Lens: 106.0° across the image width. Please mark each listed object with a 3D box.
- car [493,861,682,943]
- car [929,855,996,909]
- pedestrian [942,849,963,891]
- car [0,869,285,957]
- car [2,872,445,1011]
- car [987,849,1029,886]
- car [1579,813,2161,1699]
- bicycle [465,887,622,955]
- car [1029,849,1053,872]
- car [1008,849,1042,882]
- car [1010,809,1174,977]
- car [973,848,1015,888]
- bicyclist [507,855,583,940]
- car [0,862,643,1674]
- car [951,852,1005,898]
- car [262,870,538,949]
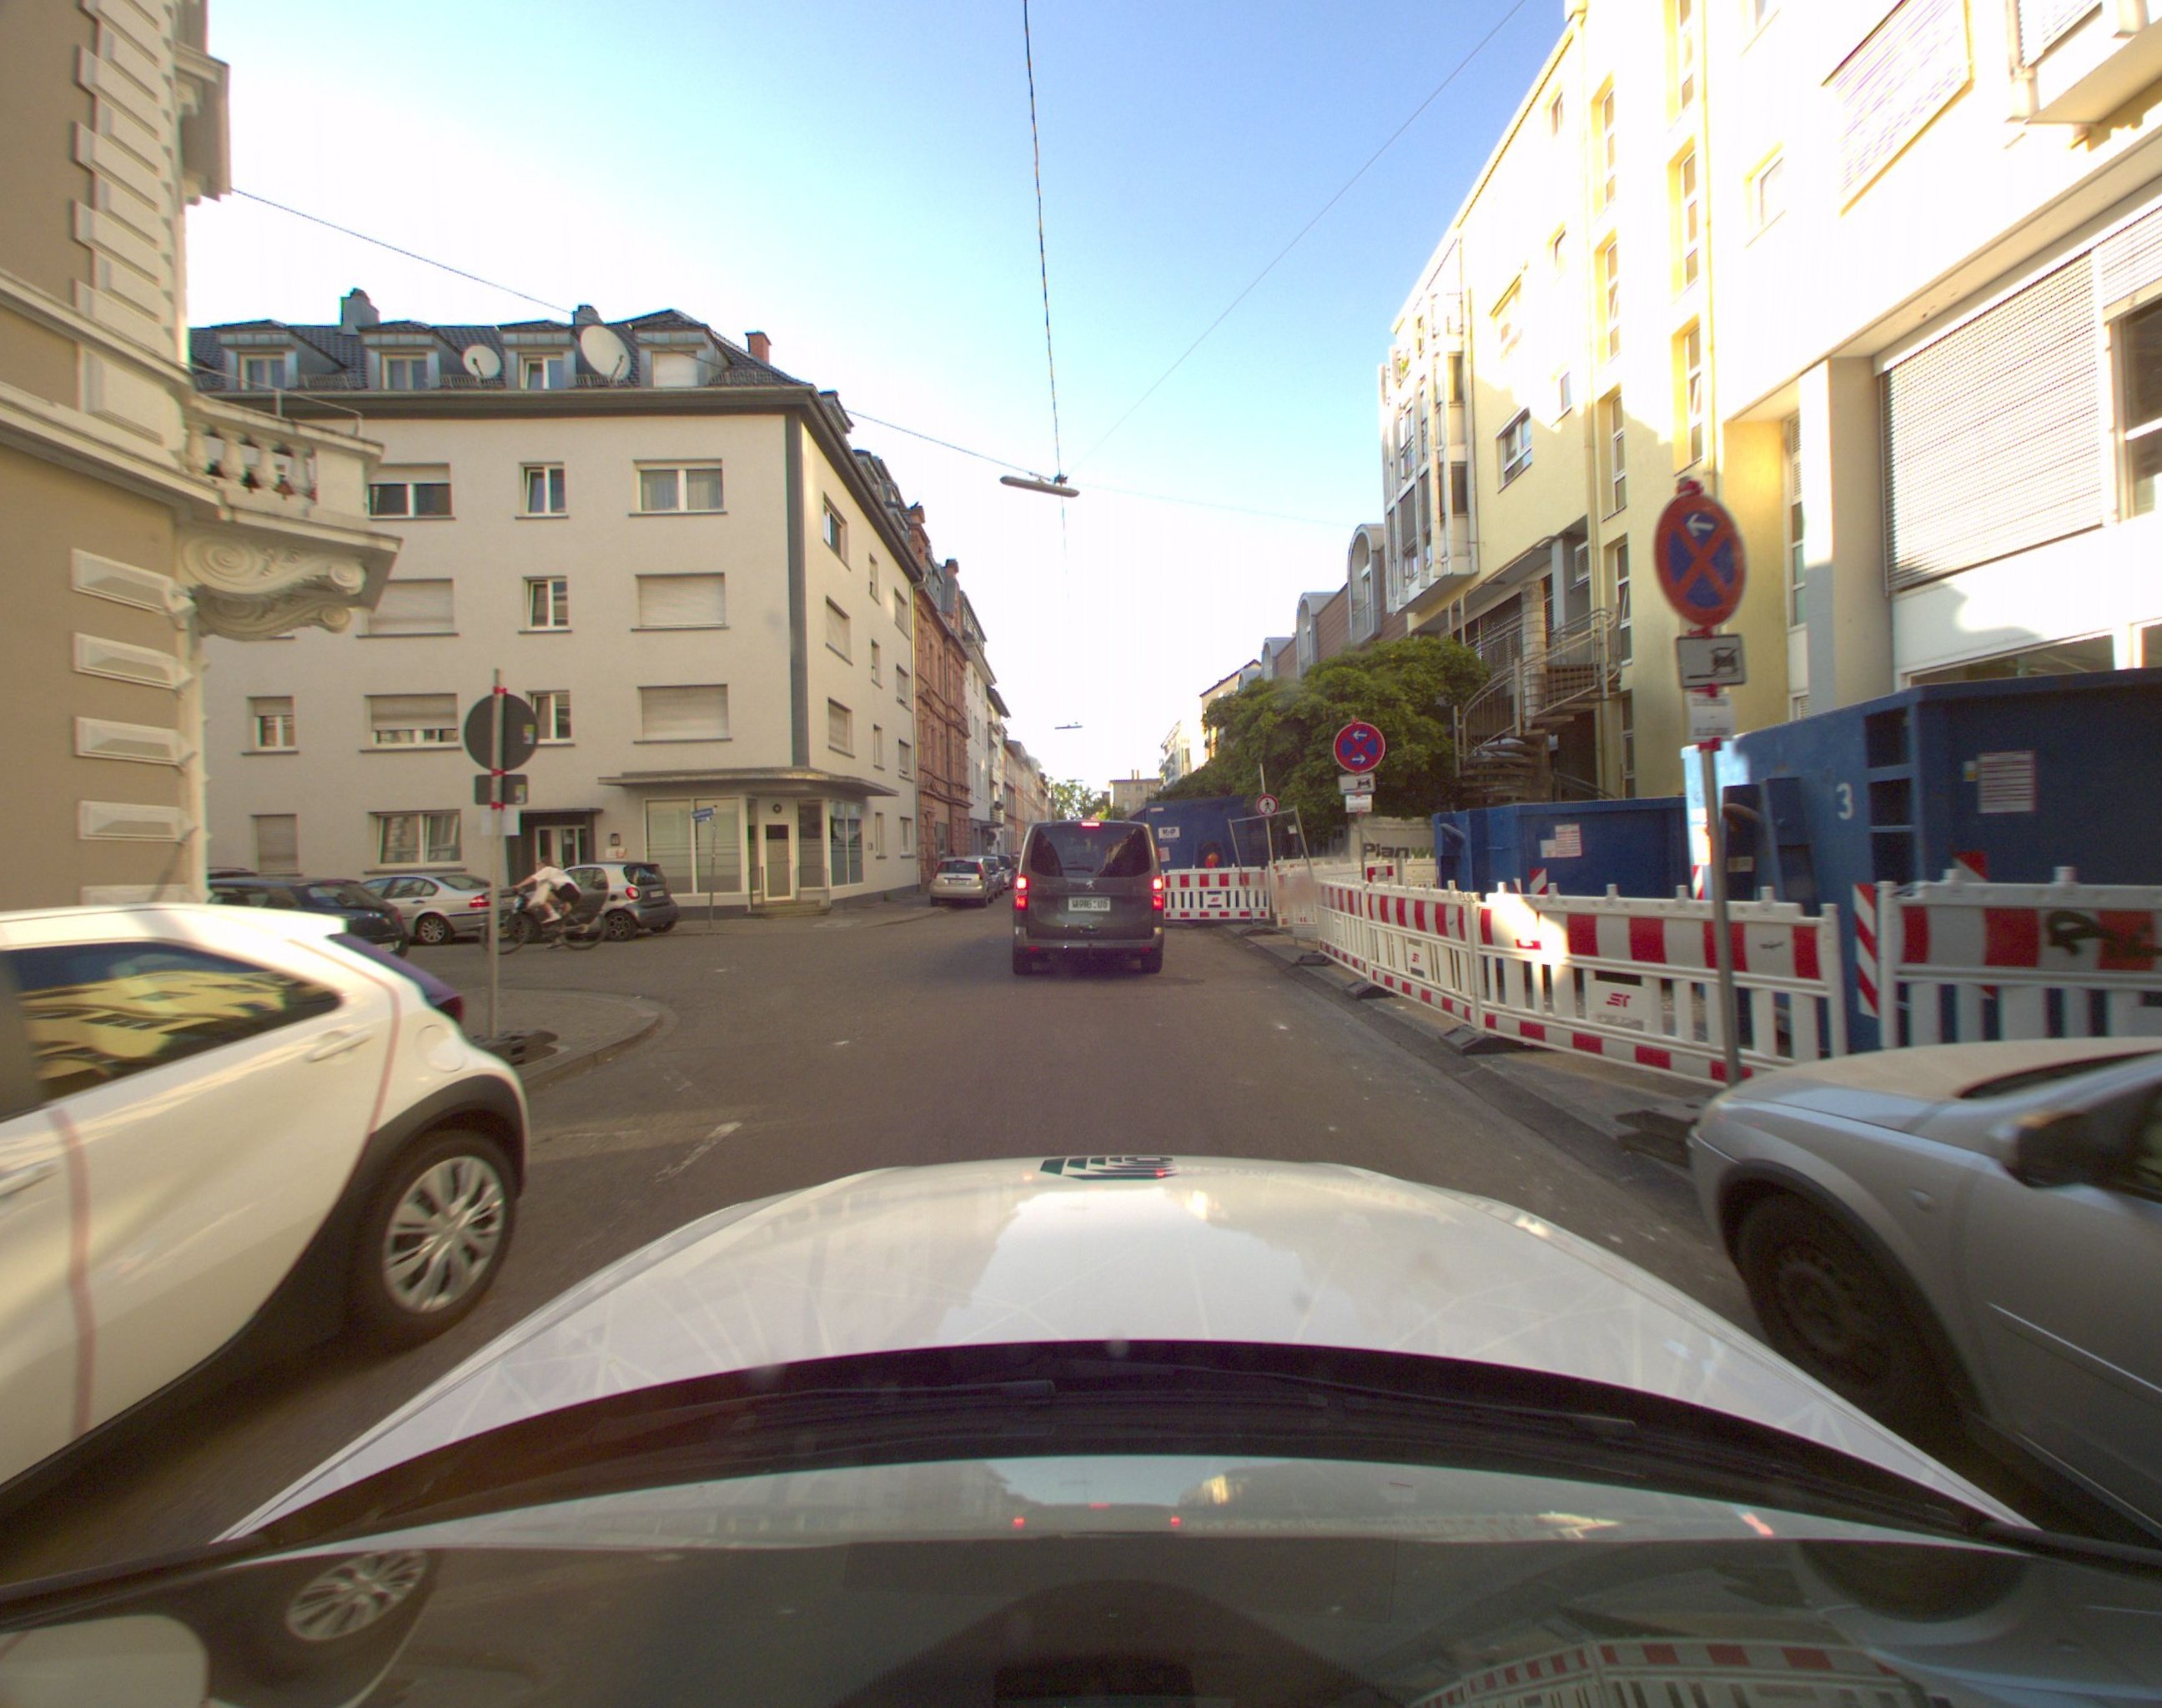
[{"bbox_3d":[-9.826,0.925,16.366,2.777,1.540,1.594,0,0,0],"label":"car"},{"bbox_3d":[-3.531,0.799,24.751,1.652,1.460,3.414,3,-1,-3],"label":"car"},{"bbox_3d":[-5.227,0.650,33.205,0.738,1.664,0.703,-2,0,-4],"label":"pedestrian"},{"bbox_3d":[-18.780,1.129,16.309,4.006,1.604,1.602,0,0,-2],"label":"car"},{"bbox_3d":[-10.791,1.043,10.504,3.658,1.451,1.726,-2,0,-5],"label":"car"},{"bbox_3d":[-3.617,0.665,40.819,1.887,1.719,3.749,3,-1,-3],"label":"car"},{"bbox_3d":[2.629,0.662,1.140,1.669,1.475,3.733,-3,0,3],"label":"car"},{"bbox_3d":[-9.154,1.121,13.970,2.115,1.027,0.730,0,0,-20],"label":"bicycle"},{"bbox_3d":[-3.435,0.548,70.372,1.887,1.846,4.344,3,-1,-3],"label":"car"},{"bbox_3d":[-3.396,0.673,50.187,1.887,1.846,4.344,3,-1,-3],"label":"car"},{"bbox_3d":[0.021,0.456,11.471,1.861,1.886,4.230,-1,0,-3],"label":"car"},{"bbox_3d":[-3.944,0.626,37.183,1.662,1.666,3.088,3,-1,-3],"label":"car"},{"bbox_3d":[-9.168,0.720,13.969,0.940,1.412,0.730,0,0,-20],"label":"bicyclist"},{"bbox_3d":[-3.068,0.878,1.661,1.914,1.507,4.267,-4,1,0],"label":"car"},{"bbox_3d":[-3.731,0.763,30.078,1.652,1.525,3.414,3,-1,-3],"label":"car"},{"bbox_3d":[-13.742,1.084,16.600,4.192,1.403,1.602,-1,0,-1],"label":"car"}]
